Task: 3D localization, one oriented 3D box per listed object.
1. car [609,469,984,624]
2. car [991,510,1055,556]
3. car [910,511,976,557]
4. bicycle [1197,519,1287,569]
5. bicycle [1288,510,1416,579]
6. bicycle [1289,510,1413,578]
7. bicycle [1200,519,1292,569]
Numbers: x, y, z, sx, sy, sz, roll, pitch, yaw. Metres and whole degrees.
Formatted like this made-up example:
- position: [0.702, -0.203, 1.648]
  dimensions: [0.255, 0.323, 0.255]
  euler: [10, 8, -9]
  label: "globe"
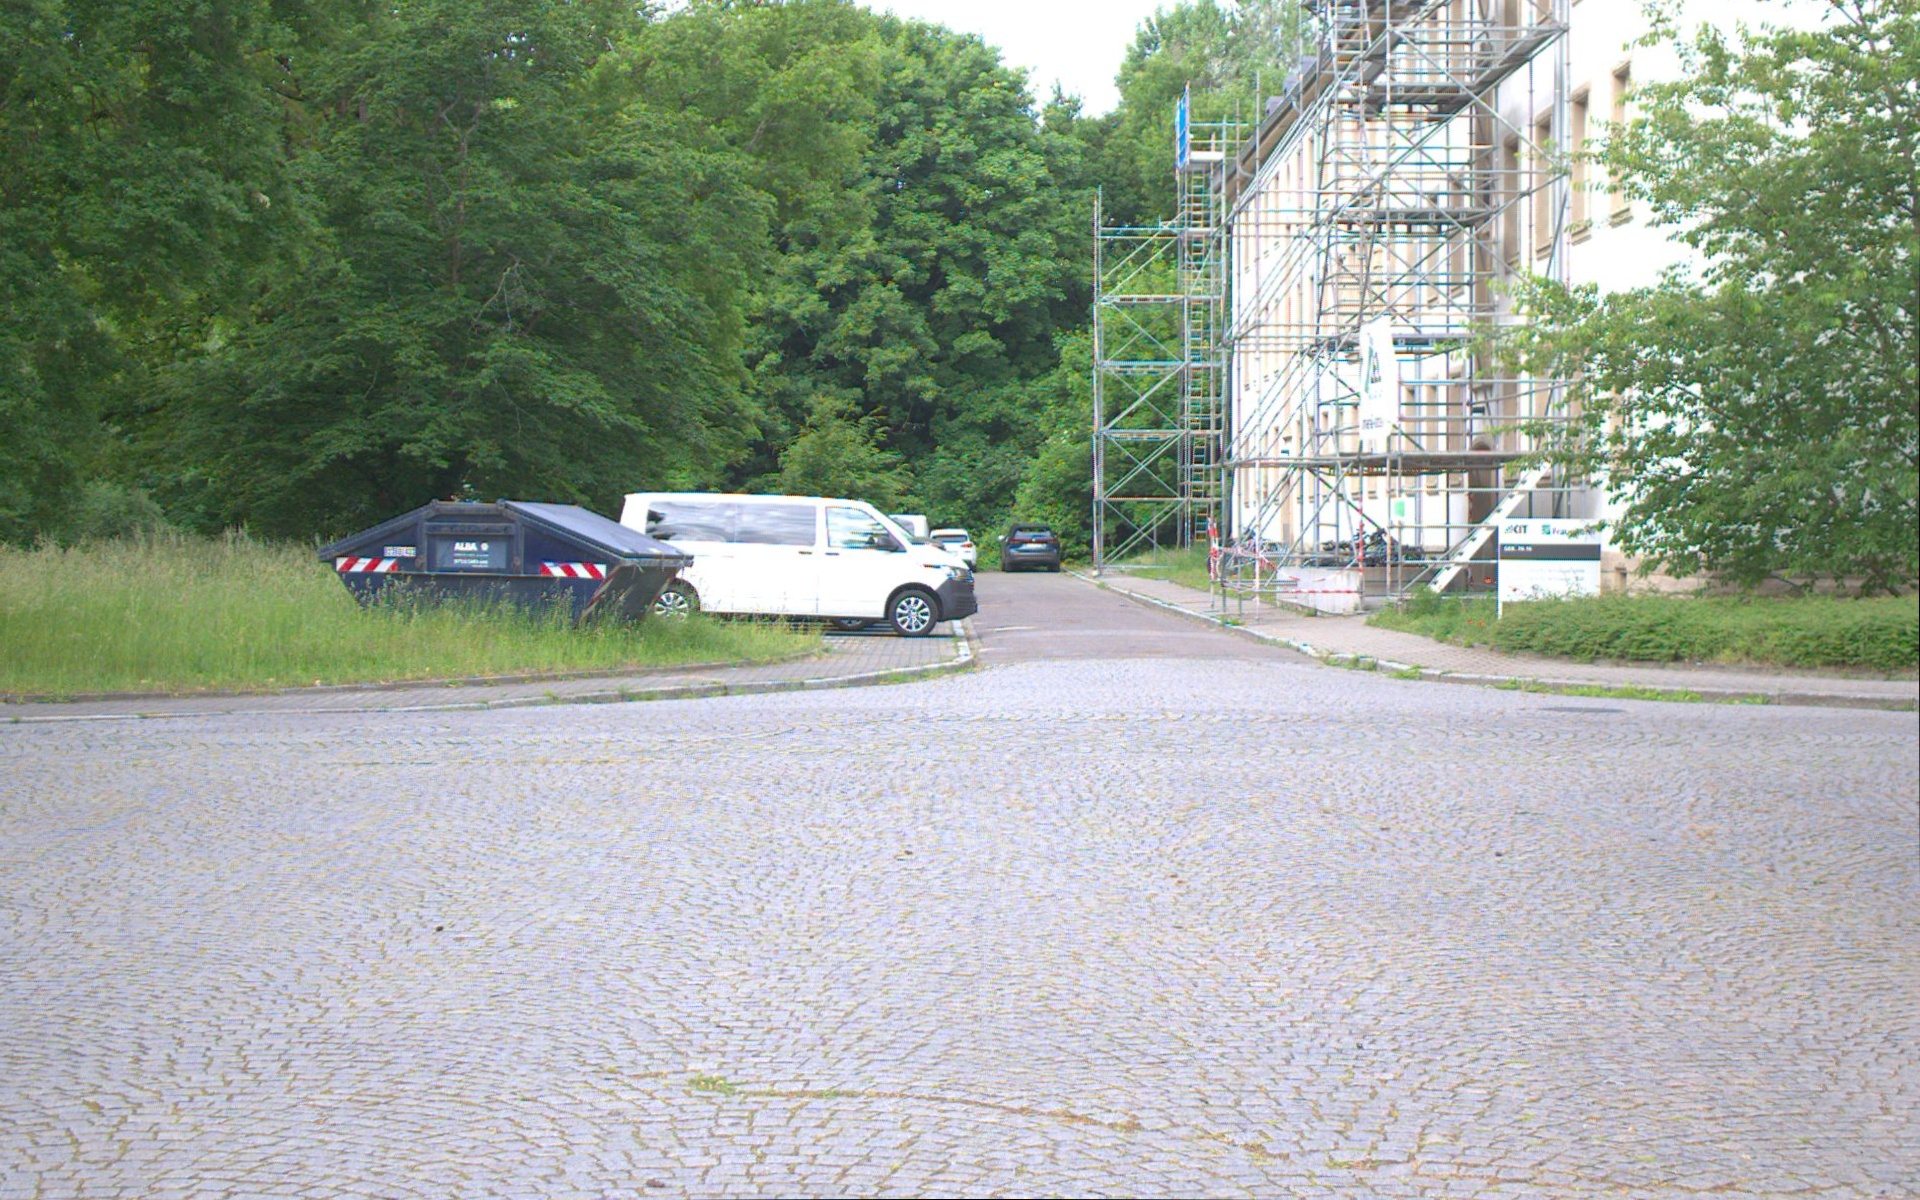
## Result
- position: [-2.325, -0.766, 49.064]
  dimensions: [5.234, 2.160, 2.000]
  euler: [0, 1, -2]
  label: "car"
- position: [2.093, -2.242, 115.353]
  dimensions: [1.951, 1.516, 4.001]
  euler: [0, 1, -2]
  label: "car"
- position: [-0.583, -2.218, 115.054]
  dimensions: [2.118, 1.516, 4.000]
  euler: [0, 1, -2]
  label: "car"
- position: [7.140, -1.414, 87.002]
  dimensions: [2.240, 1.250, 0.698]
  euler: [0, 1, 2]
  label: "bicycle"
- position: [7.069, -1.005, 62.036]
  dimensions: [2.240, 1.250, 0.777]
  euler: [0, 1, 2]
  label: "bicycle"
- position: [7.263, -1.038, 63.948]
  dimensions: [2.240, 1.250, 0.777]
  euler: [0, 1, 2]
  label: "bicycle"
- position: [7.138, -1.395, 85.843]
  dimensions: [2.240, 1.250, 0.627]
  euler: [0, 1, 2]
  label: "bicycle"
